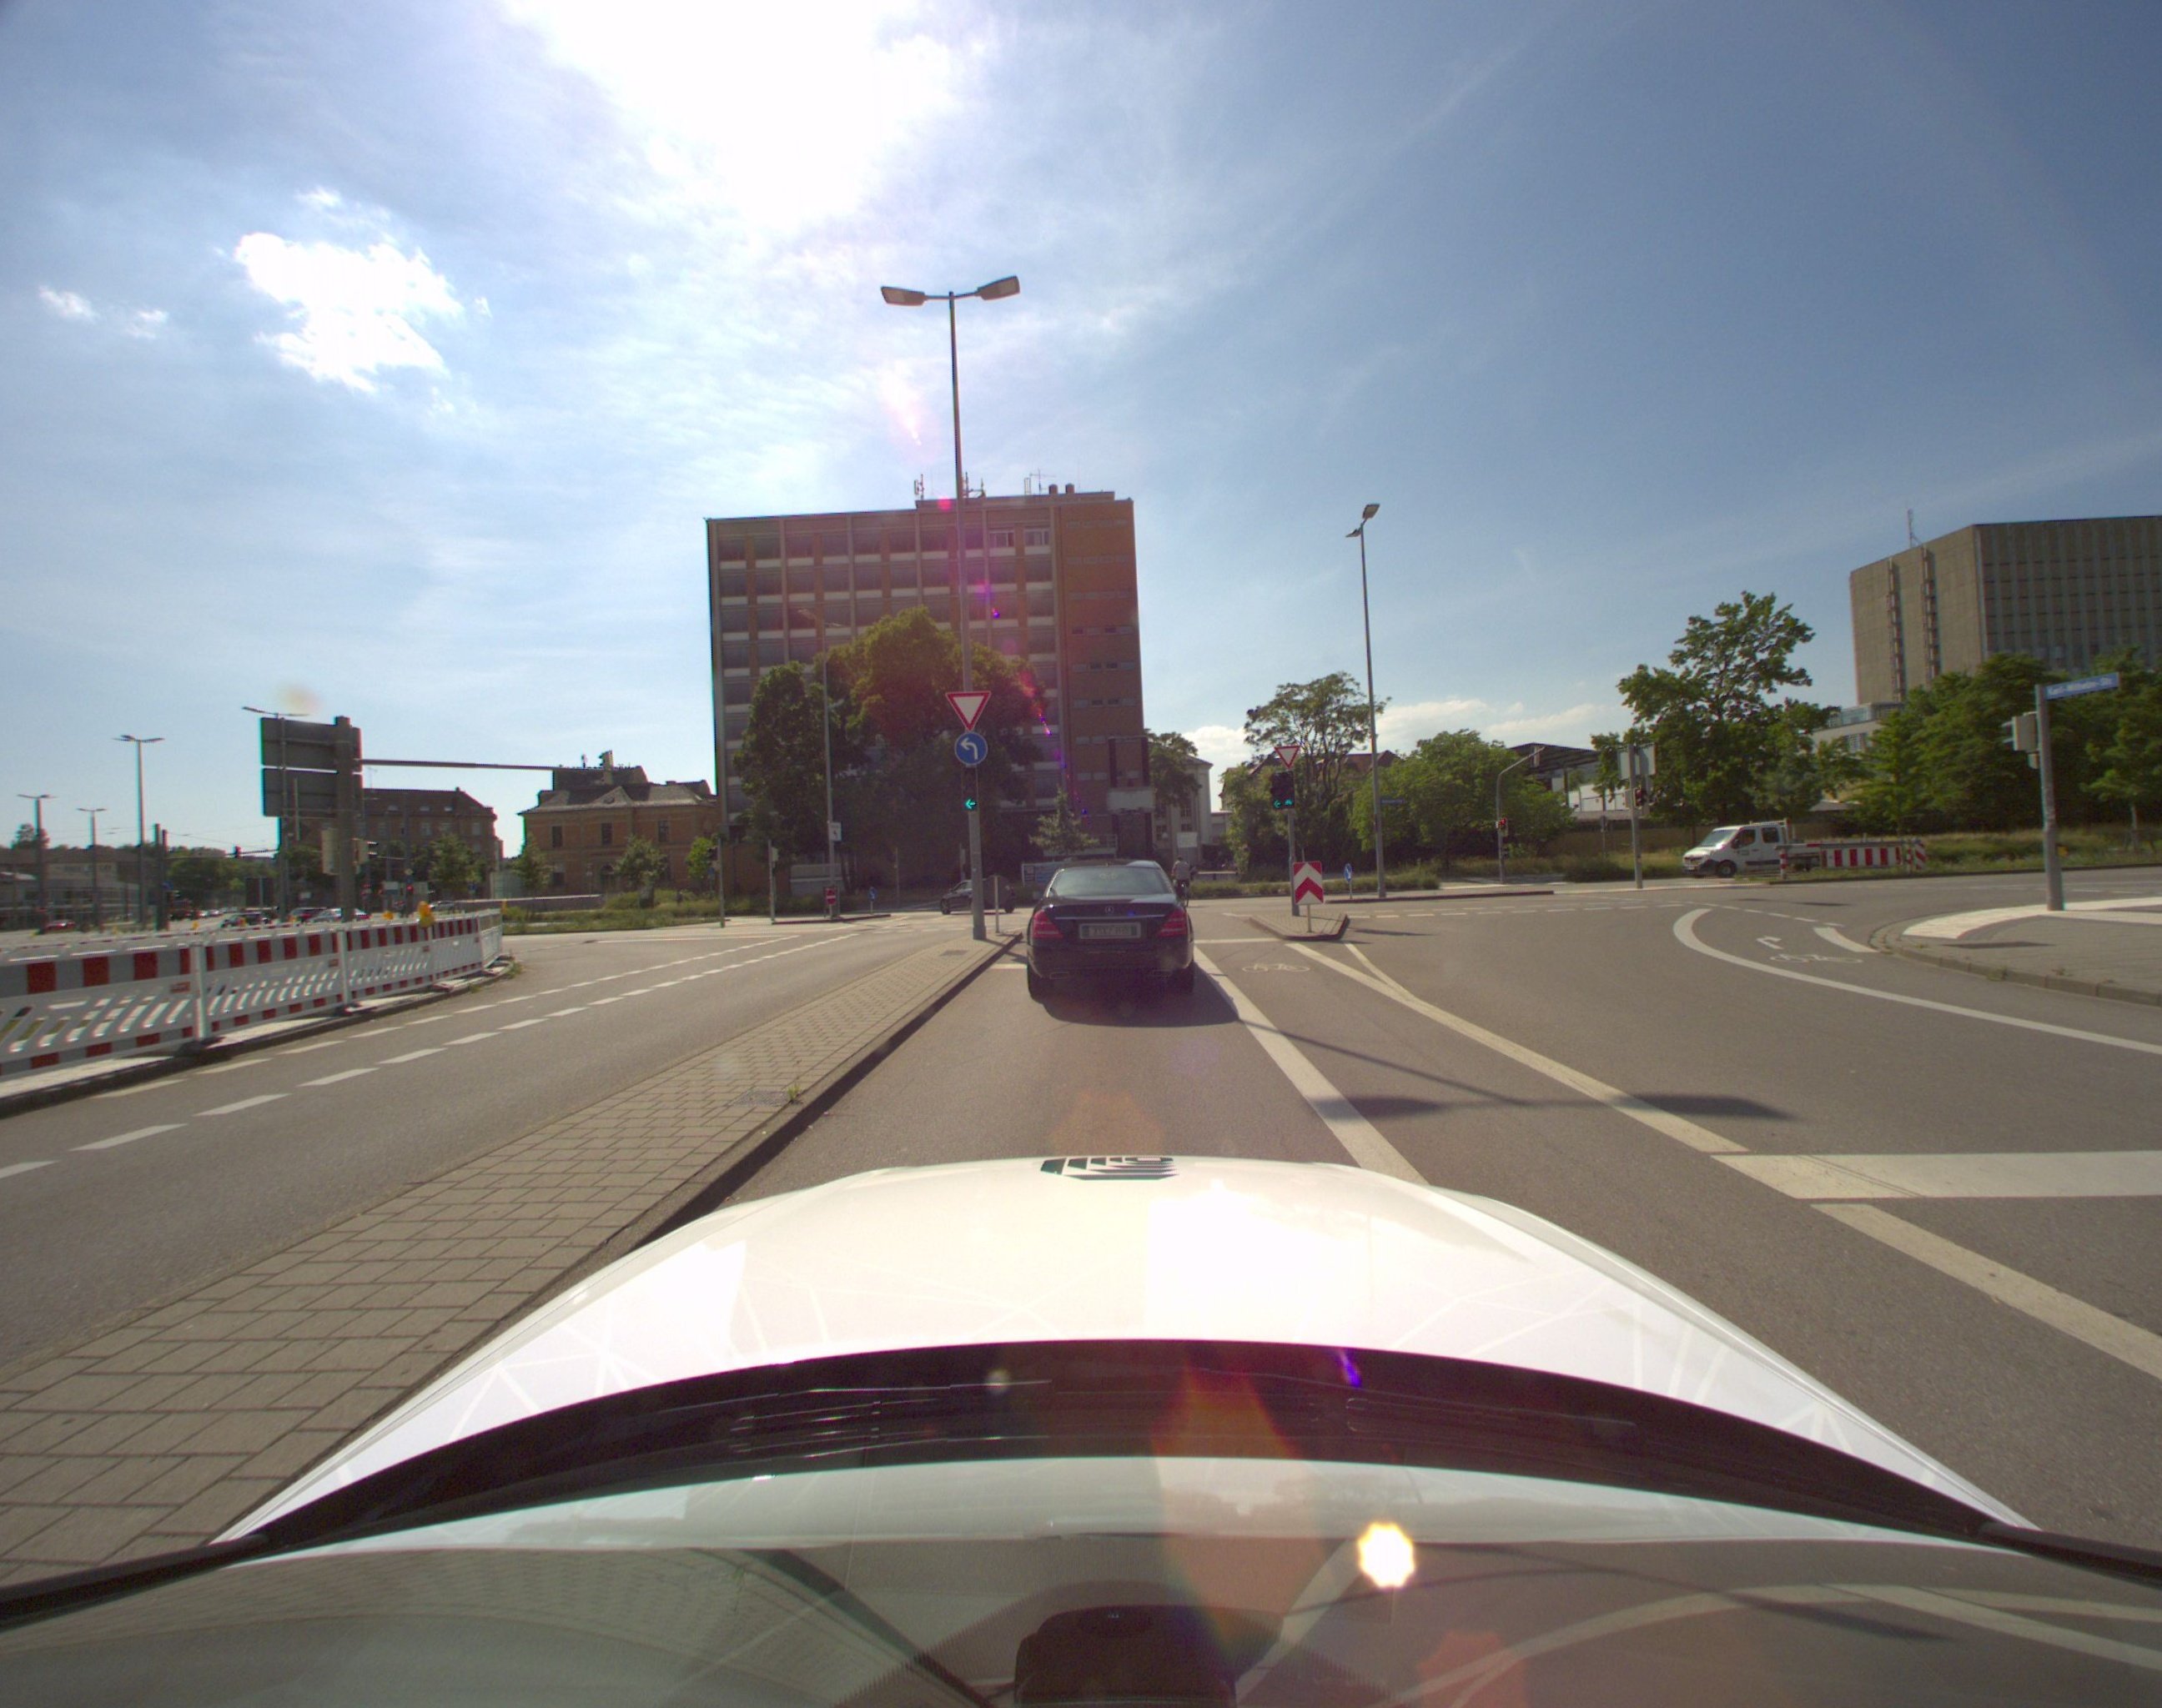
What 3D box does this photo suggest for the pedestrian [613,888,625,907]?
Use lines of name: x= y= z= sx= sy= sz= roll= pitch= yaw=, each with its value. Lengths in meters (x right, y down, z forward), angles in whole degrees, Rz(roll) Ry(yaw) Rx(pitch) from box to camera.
pedestrian: x=-40.561 y=3.842 z=71.485 sx=0.642 sy=1.661 sz=0.654 roll=-1 pitch=-1 yaw=28

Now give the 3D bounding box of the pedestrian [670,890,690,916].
pedestrian: x=-28.030 y=3.415 z=56.937 sx=0.790 sy=1.725 sz=0.878 roll=-4 pitch=-2 yaw=24

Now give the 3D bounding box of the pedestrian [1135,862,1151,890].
pedestrian: x=3.624 y=1.306 z=47.666 sx=0.807 sy=1.579 sz=0.693 roll=-3 pitch=-1 yaw=3

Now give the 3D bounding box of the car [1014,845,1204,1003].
car: x=0.379 y=0.726 z=10.389 sx=1.851 sy=1.530 sz=4.716 roll=-1 pitch=-1 yaw=2

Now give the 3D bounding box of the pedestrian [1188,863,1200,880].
pedestrian: x=8.022 y=1.220 z=57.703 sx=0.788 sy=1.214 sz=0.759 roll=-1 pitch=-1 yaw=8

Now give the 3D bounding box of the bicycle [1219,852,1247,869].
bicycle: x=16.557 y=0.686 z=88.727 sx=2.813 sy=1.649 sz=0.842 roll=-3 pitch=-1 yaw=1

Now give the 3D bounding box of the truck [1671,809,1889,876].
truck: x=29.684 y=-0.427 z=34.786 sx=6.997 sy=2.356 sz=2.414 roll=-3 pitch=-2 yaw=2

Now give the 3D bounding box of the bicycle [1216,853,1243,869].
bicycle: x=16.562 y=0.765 z=91.006 sx=2.813 sy=1.587 sz=0.842 roll=-3 pitch=-1 yaw=1

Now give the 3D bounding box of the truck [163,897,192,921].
truck: x=-152.363 y=9.234 z=137.286 sx=7.827 sy=3.730 sz=3.093 roll=-4 pitch=-2 yaw=41

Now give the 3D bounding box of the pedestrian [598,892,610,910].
pedestrian: x=-44.215 y=4.373 z=75.504 sx=0.644 sy=1.661 sz=0.652 roll=-3 pitch=-2 yaw=9

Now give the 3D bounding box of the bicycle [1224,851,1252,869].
bicycle: x=16.863 y=0.606 z=87.473 sx=2.813 sy=1.744 sz=0.842 roll=-3 pitch=-1 yaw=1

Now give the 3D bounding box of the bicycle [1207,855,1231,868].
bicycle: x=16.844 y=0.903 z=99.329 sx=2.812 sy=1.480 sz=0.842 roll=-3 pitch=-1 yaw=2

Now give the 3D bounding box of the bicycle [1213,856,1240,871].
bicycle: x=16.412 y=1.097 z=92.024 sx=2.813 sy=1.537 sz=0.842 roll=-3 pitch=-1 yaw=1

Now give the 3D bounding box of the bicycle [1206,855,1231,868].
bicycle: x=16.515 y=0.913 z=98.049 sx=2.813 sy=1.500 sz=0.842 roll=-3 pitch=-1 yaw=1

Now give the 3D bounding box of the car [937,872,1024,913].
car: x=-4.124 y=1.589 z=32.998 sx=1.808 sy=1.510 sz=3.956 roll=-1 pitch=-3 yaw=-36

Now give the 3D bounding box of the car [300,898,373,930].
car: x=-48.117 y=3.888 z=52.608 sx=3.951 sy=1.816 sz=2.011 roll=-3 pitch=-2 yaw=24

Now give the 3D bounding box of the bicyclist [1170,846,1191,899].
bicyclist: x=3.604 y=0.681 z=29.643 sx=0.682 sy=1.878 sz=0.861 roll=-1 pitch=-1 yaw=5

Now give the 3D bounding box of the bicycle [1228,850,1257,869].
bicycle: x=16.919 y=0.541 z=85.211 sx=2.813 sy=1.836 sz=0.842 roll=-3 pitch=-1 yaw=1

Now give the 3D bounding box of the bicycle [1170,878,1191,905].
bicycle: x=3.621 y=1.347 z=29.657 sx=0.689 sy=0.946 sz=1.961 roll=-1 pitch=-1 yaw=5

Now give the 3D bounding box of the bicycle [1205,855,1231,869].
bicycle: x=16.207 y=0.970 z=96.267 sx=2.813 sy=1.559 sz=0.842 roll=-3 pitch=-1 yaw=1

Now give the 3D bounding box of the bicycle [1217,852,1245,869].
bicycle: x=16.564 y=0.692 z=89.938 sx=2.813 sy=1.659 sz=0.842 roll=-3 pitch=1 yaw=1

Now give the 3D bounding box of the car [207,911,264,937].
car: x=-55.999 y=4.635 z=53.923 sx=3.948 sy=1.510 sz=1.811 roll=-4 pitch=-2 yaw=32
